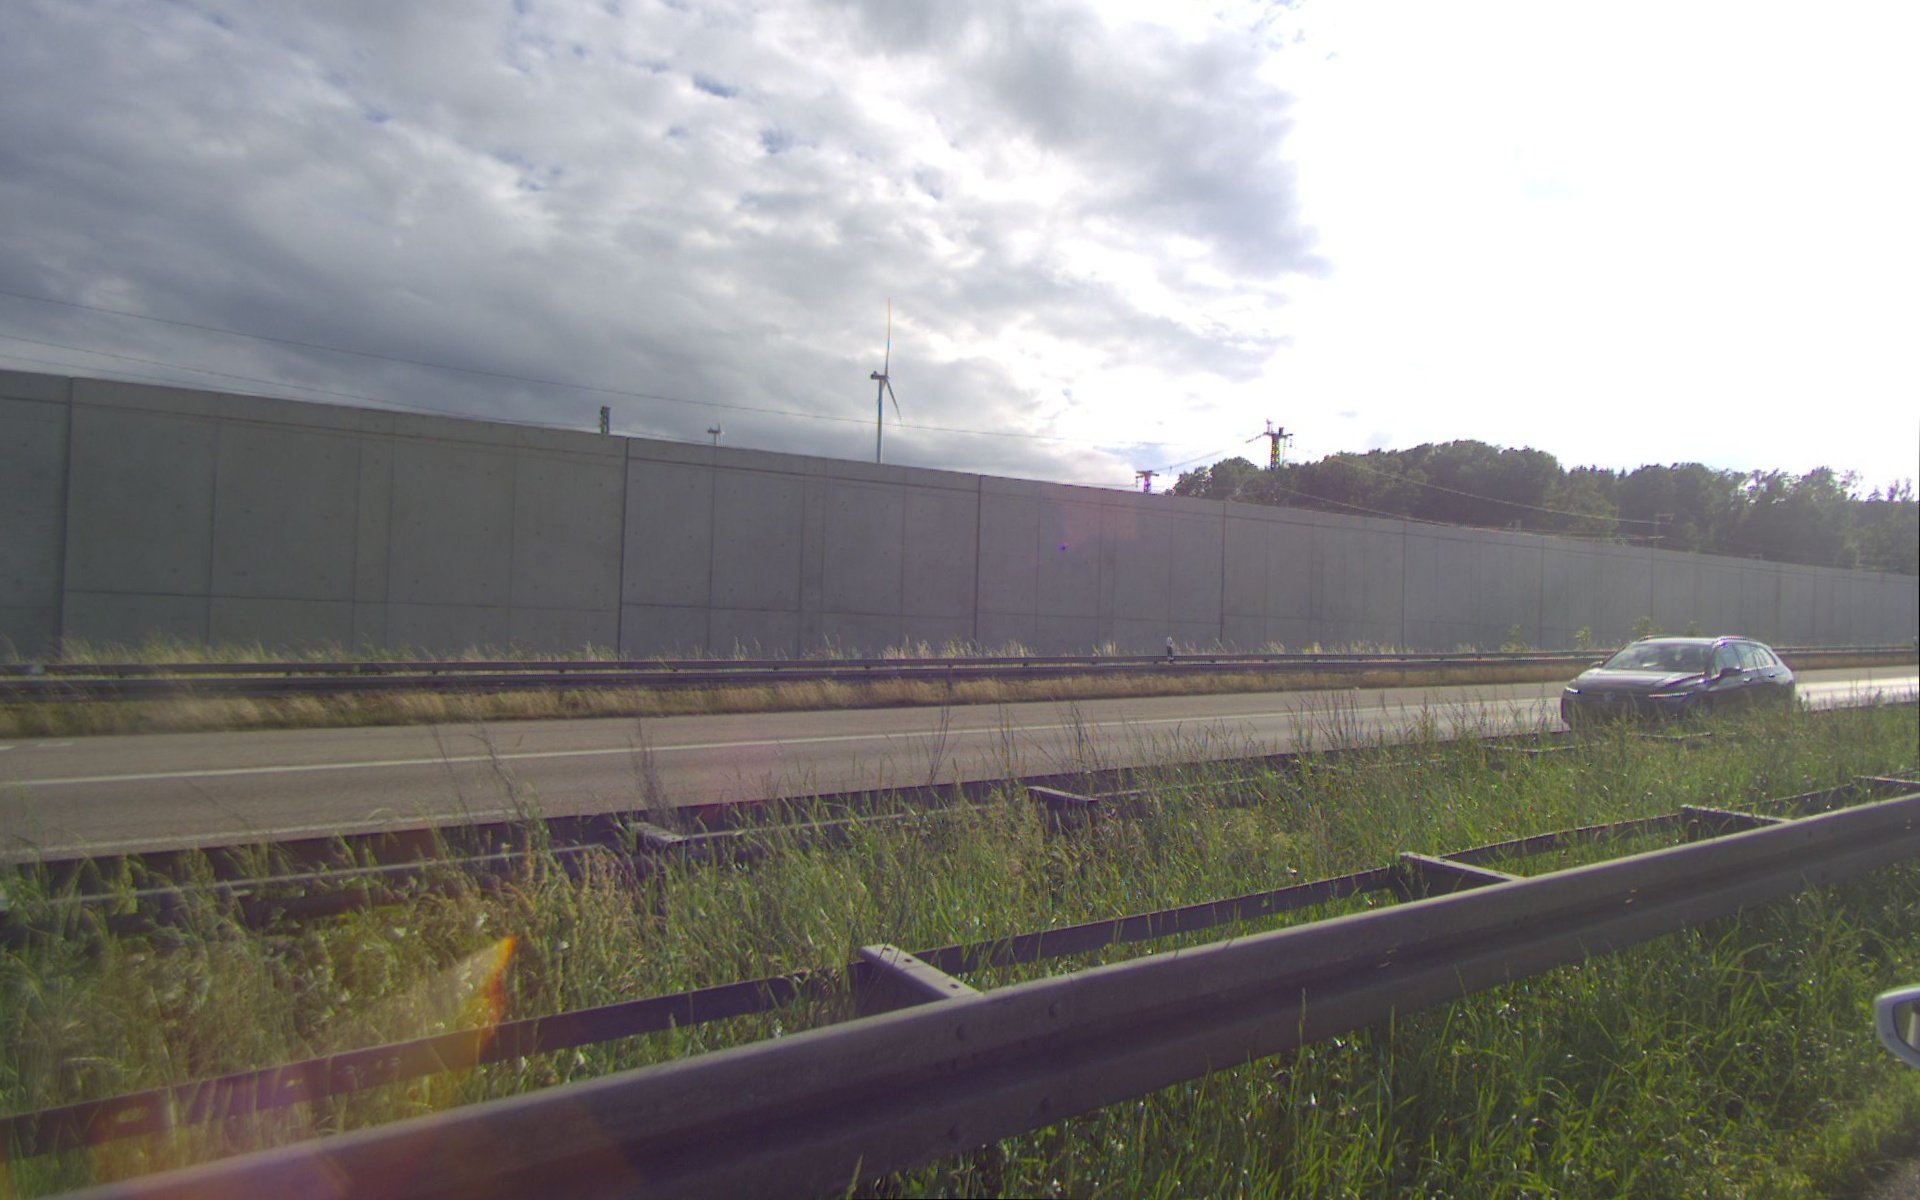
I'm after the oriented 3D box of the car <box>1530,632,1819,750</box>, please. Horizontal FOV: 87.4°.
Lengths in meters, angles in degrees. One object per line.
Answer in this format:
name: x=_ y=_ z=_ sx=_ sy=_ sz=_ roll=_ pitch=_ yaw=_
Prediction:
car: x=10.966 y=1.310 z=15.370 sx=4.347 sy=1.506 sz=1.984 roll=2 pitch=0 yaw=-30
